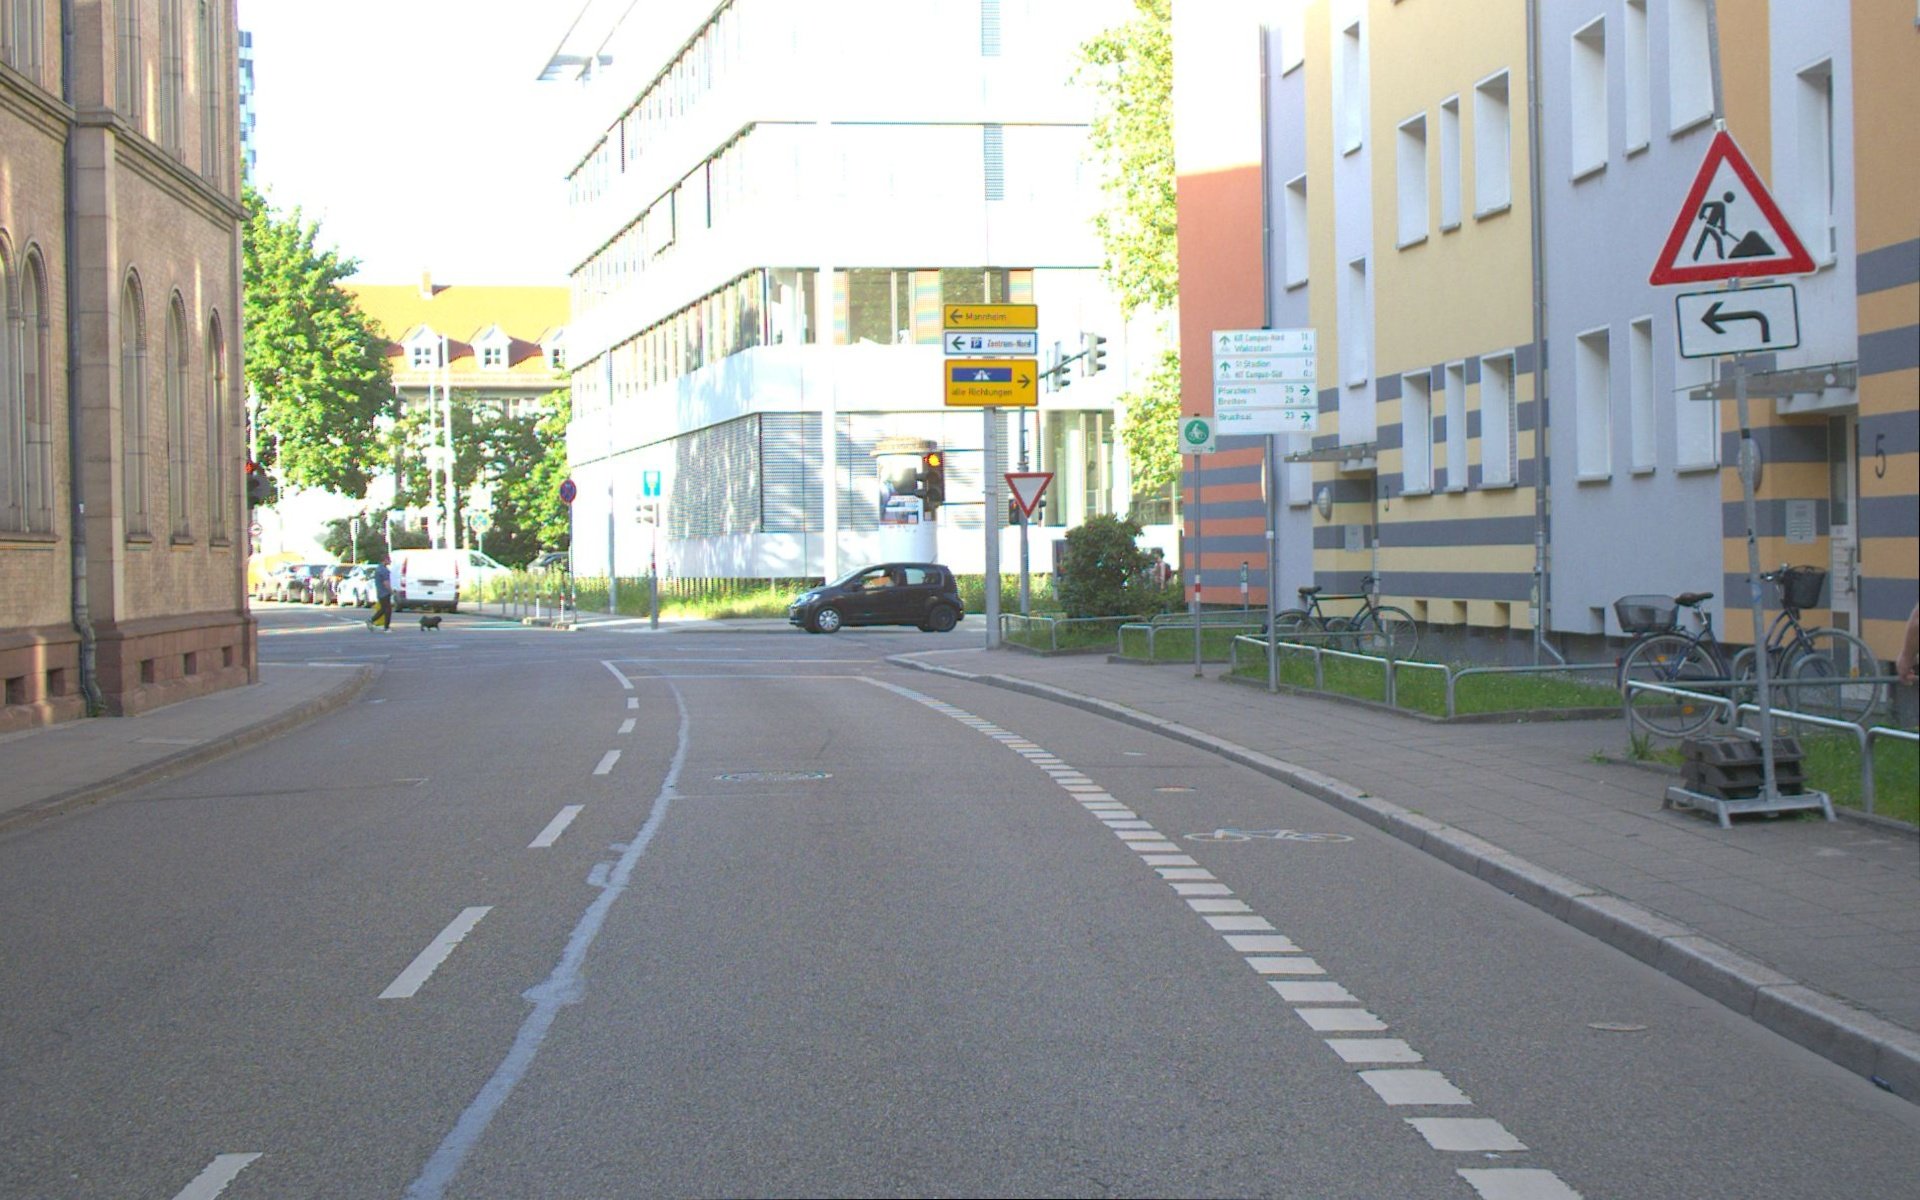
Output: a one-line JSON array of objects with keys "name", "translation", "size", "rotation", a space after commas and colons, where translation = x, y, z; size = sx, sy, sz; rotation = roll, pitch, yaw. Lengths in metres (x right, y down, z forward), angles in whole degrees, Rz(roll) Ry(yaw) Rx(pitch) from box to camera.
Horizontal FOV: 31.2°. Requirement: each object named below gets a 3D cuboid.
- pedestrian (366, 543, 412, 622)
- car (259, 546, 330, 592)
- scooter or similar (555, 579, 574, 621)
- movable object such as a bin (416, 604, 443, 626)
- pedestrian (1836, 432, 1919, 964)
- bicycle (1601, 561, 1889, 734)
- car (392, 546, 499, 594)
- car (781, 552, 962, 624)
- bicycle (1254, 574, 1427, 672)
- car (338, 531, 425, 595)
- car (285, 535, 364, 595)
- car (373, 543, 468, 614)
[{"name": "pedestrian", "translation": [-12.909, -0.388, 77.730], "size": [0.926, 1.753, 0.848], "rotation": [1, 0, -15]}, {"name": "car", "translation": [-26.351, -1.207, 136.034], "size": [2.329, 1.727, 5.007], "rotation": [1, 0, -16]}, {"name": "scooter or similar", "translation": [-9.991, 0.000, 86.828], "size": [0.325, 1.056, 1.143], "rotation": [-1, 1, -13]}, {"name": "movable object such as a bin", "translation": [-12.191, 0.340, 78.998], "size": [0.589, 0.479, 0.286], "rotation": [-1, 1, -18]}, {"name": "pedestrian", "translation": [3.480, 0.311, 11.467], "size": [0.696, 1.754, 1.189], "rotation": [-3, 1, -1]}, {"name": "bicycle", "translation": [5.337, 0.317, 23.423], "size": [1.810, 1.133, 0.552], "rotation": [-1, 0, -3]}, {"name": "car", "translation": [-21.446, -1.262, 143.346], "size": [3.986, 1.909, 1.920], "rotation": [1, 0, -24]}, {"name": "car", "translation": [-1.851, -0.252, 71.533], "size": [3.428, 1.441, 1.775], "rotation": [-1, 0, -14]}, {"name": "bicycle", "translation": [4.159, 0.246, 37.612], "size": [1.753, 1.000, 0.613], "rotation": [-2, 0, -6]}, {"name": "car", "translation": [-19.692, -1.238, 116.925], "size": [2.329, 2.105, 5.007], "rotation": [1, 0, -16]}, {"name": "car", "translation": [-23.358, -1.261, 126.248], "size": [2.329, 2.105, 5.007], "rotation": [1, 0, -16]}, {"name": "car", "translation": [-16.642, -0.648, 105.923], "size": [2.423, 2.105, 5.233], "rotation": [1, 0, -14]}]
